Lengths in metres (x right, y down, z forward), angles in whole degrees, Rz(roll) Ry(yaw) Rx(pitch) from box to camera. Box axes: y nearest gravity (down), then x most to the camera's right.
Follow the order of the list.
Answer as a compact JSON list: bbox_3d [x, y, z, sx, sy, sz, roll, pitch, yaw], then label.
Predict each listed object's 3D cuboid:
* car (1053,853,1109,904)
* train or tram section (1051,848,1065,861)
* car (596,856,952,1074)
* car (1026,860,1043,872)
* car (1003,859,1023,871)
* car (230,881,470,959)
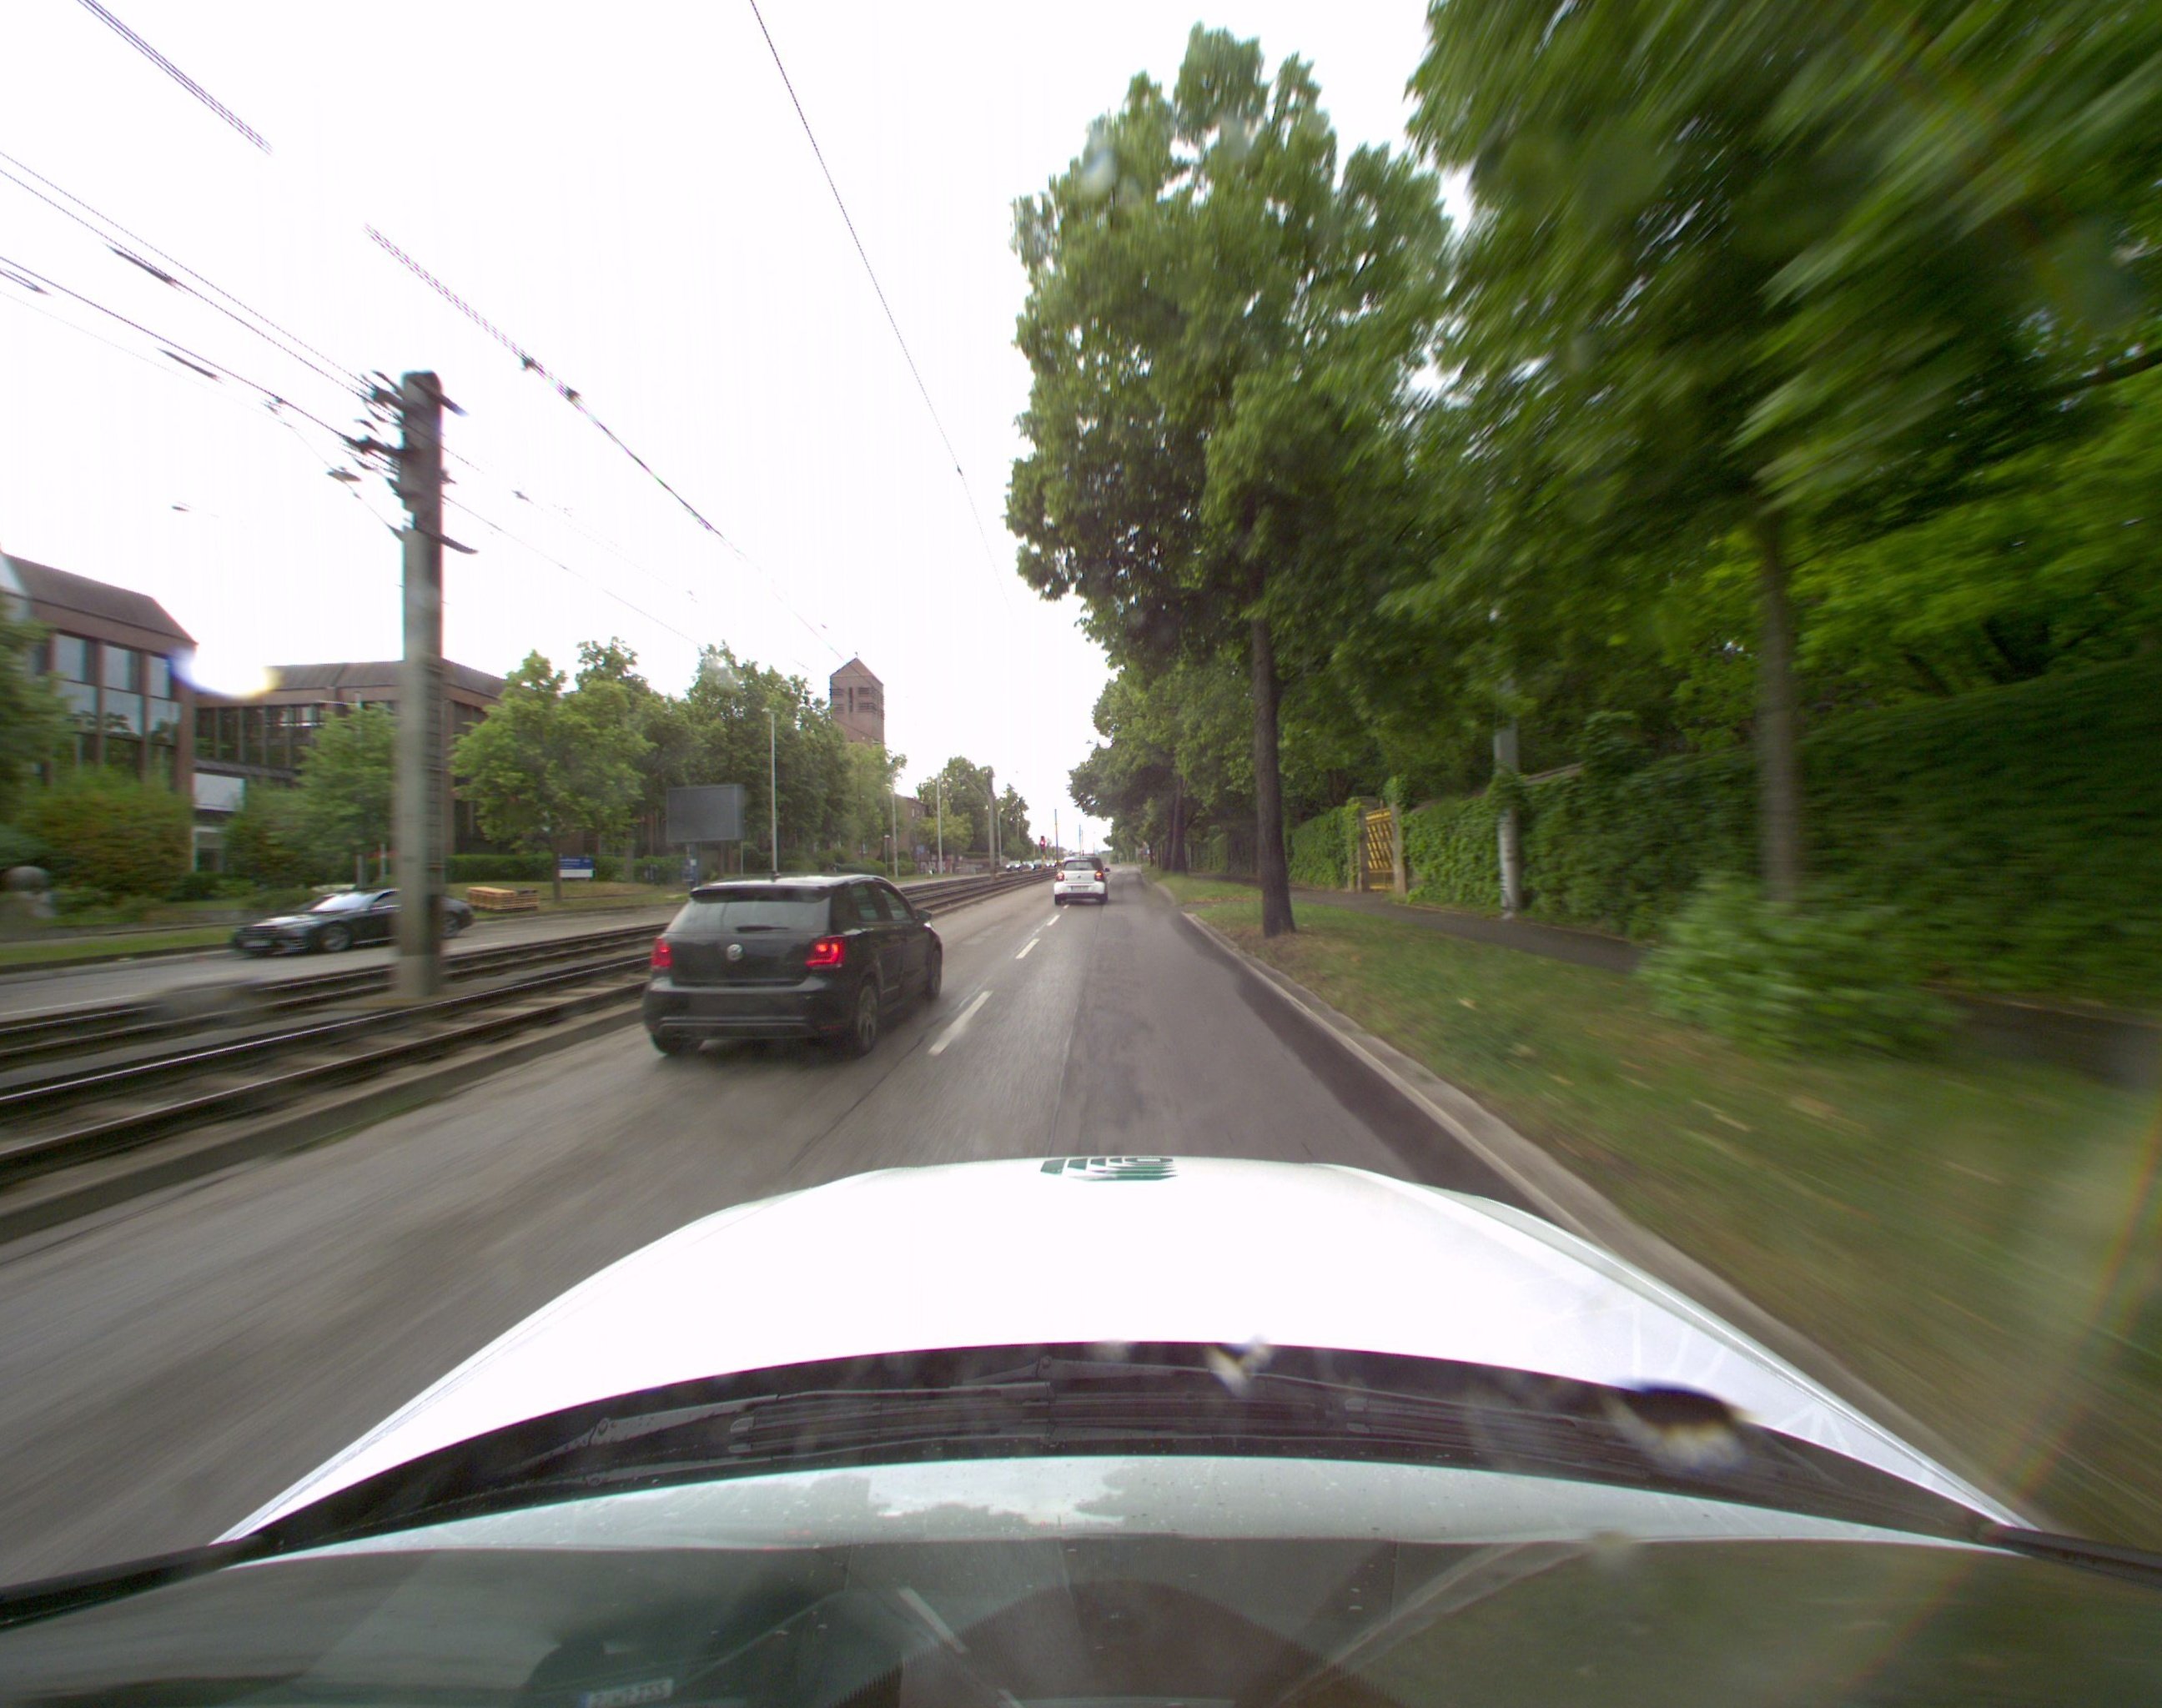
[{"bbox_3d":[0.068,0.765,27.405,1.669,1.531,3.724,-2,0,3],"label":"car"},{"bbox_3d":[-6.238,0.169,221.717,2.831,3.605,9.243,-1,0,-8],"label":"train or tram section"},{"bbox_3d":[-2.471,0.785,7.702,1.787,1.485,3.965,-1,0,1],"label":"car"},{"bbox_3d":[-6.994,1.716,121.960,1.825,1.656,4.246,-2,0,6],"label":"car"},{"bbox_3d":[-9.878,1.593,118.493,2.002,1.656,4.624,-2,0,6],"label":"car"},{"bbox_3d":[-18.138,1.565,20.586,1.788,1.530,4.622,-2,0,1],"label":"car"}]
